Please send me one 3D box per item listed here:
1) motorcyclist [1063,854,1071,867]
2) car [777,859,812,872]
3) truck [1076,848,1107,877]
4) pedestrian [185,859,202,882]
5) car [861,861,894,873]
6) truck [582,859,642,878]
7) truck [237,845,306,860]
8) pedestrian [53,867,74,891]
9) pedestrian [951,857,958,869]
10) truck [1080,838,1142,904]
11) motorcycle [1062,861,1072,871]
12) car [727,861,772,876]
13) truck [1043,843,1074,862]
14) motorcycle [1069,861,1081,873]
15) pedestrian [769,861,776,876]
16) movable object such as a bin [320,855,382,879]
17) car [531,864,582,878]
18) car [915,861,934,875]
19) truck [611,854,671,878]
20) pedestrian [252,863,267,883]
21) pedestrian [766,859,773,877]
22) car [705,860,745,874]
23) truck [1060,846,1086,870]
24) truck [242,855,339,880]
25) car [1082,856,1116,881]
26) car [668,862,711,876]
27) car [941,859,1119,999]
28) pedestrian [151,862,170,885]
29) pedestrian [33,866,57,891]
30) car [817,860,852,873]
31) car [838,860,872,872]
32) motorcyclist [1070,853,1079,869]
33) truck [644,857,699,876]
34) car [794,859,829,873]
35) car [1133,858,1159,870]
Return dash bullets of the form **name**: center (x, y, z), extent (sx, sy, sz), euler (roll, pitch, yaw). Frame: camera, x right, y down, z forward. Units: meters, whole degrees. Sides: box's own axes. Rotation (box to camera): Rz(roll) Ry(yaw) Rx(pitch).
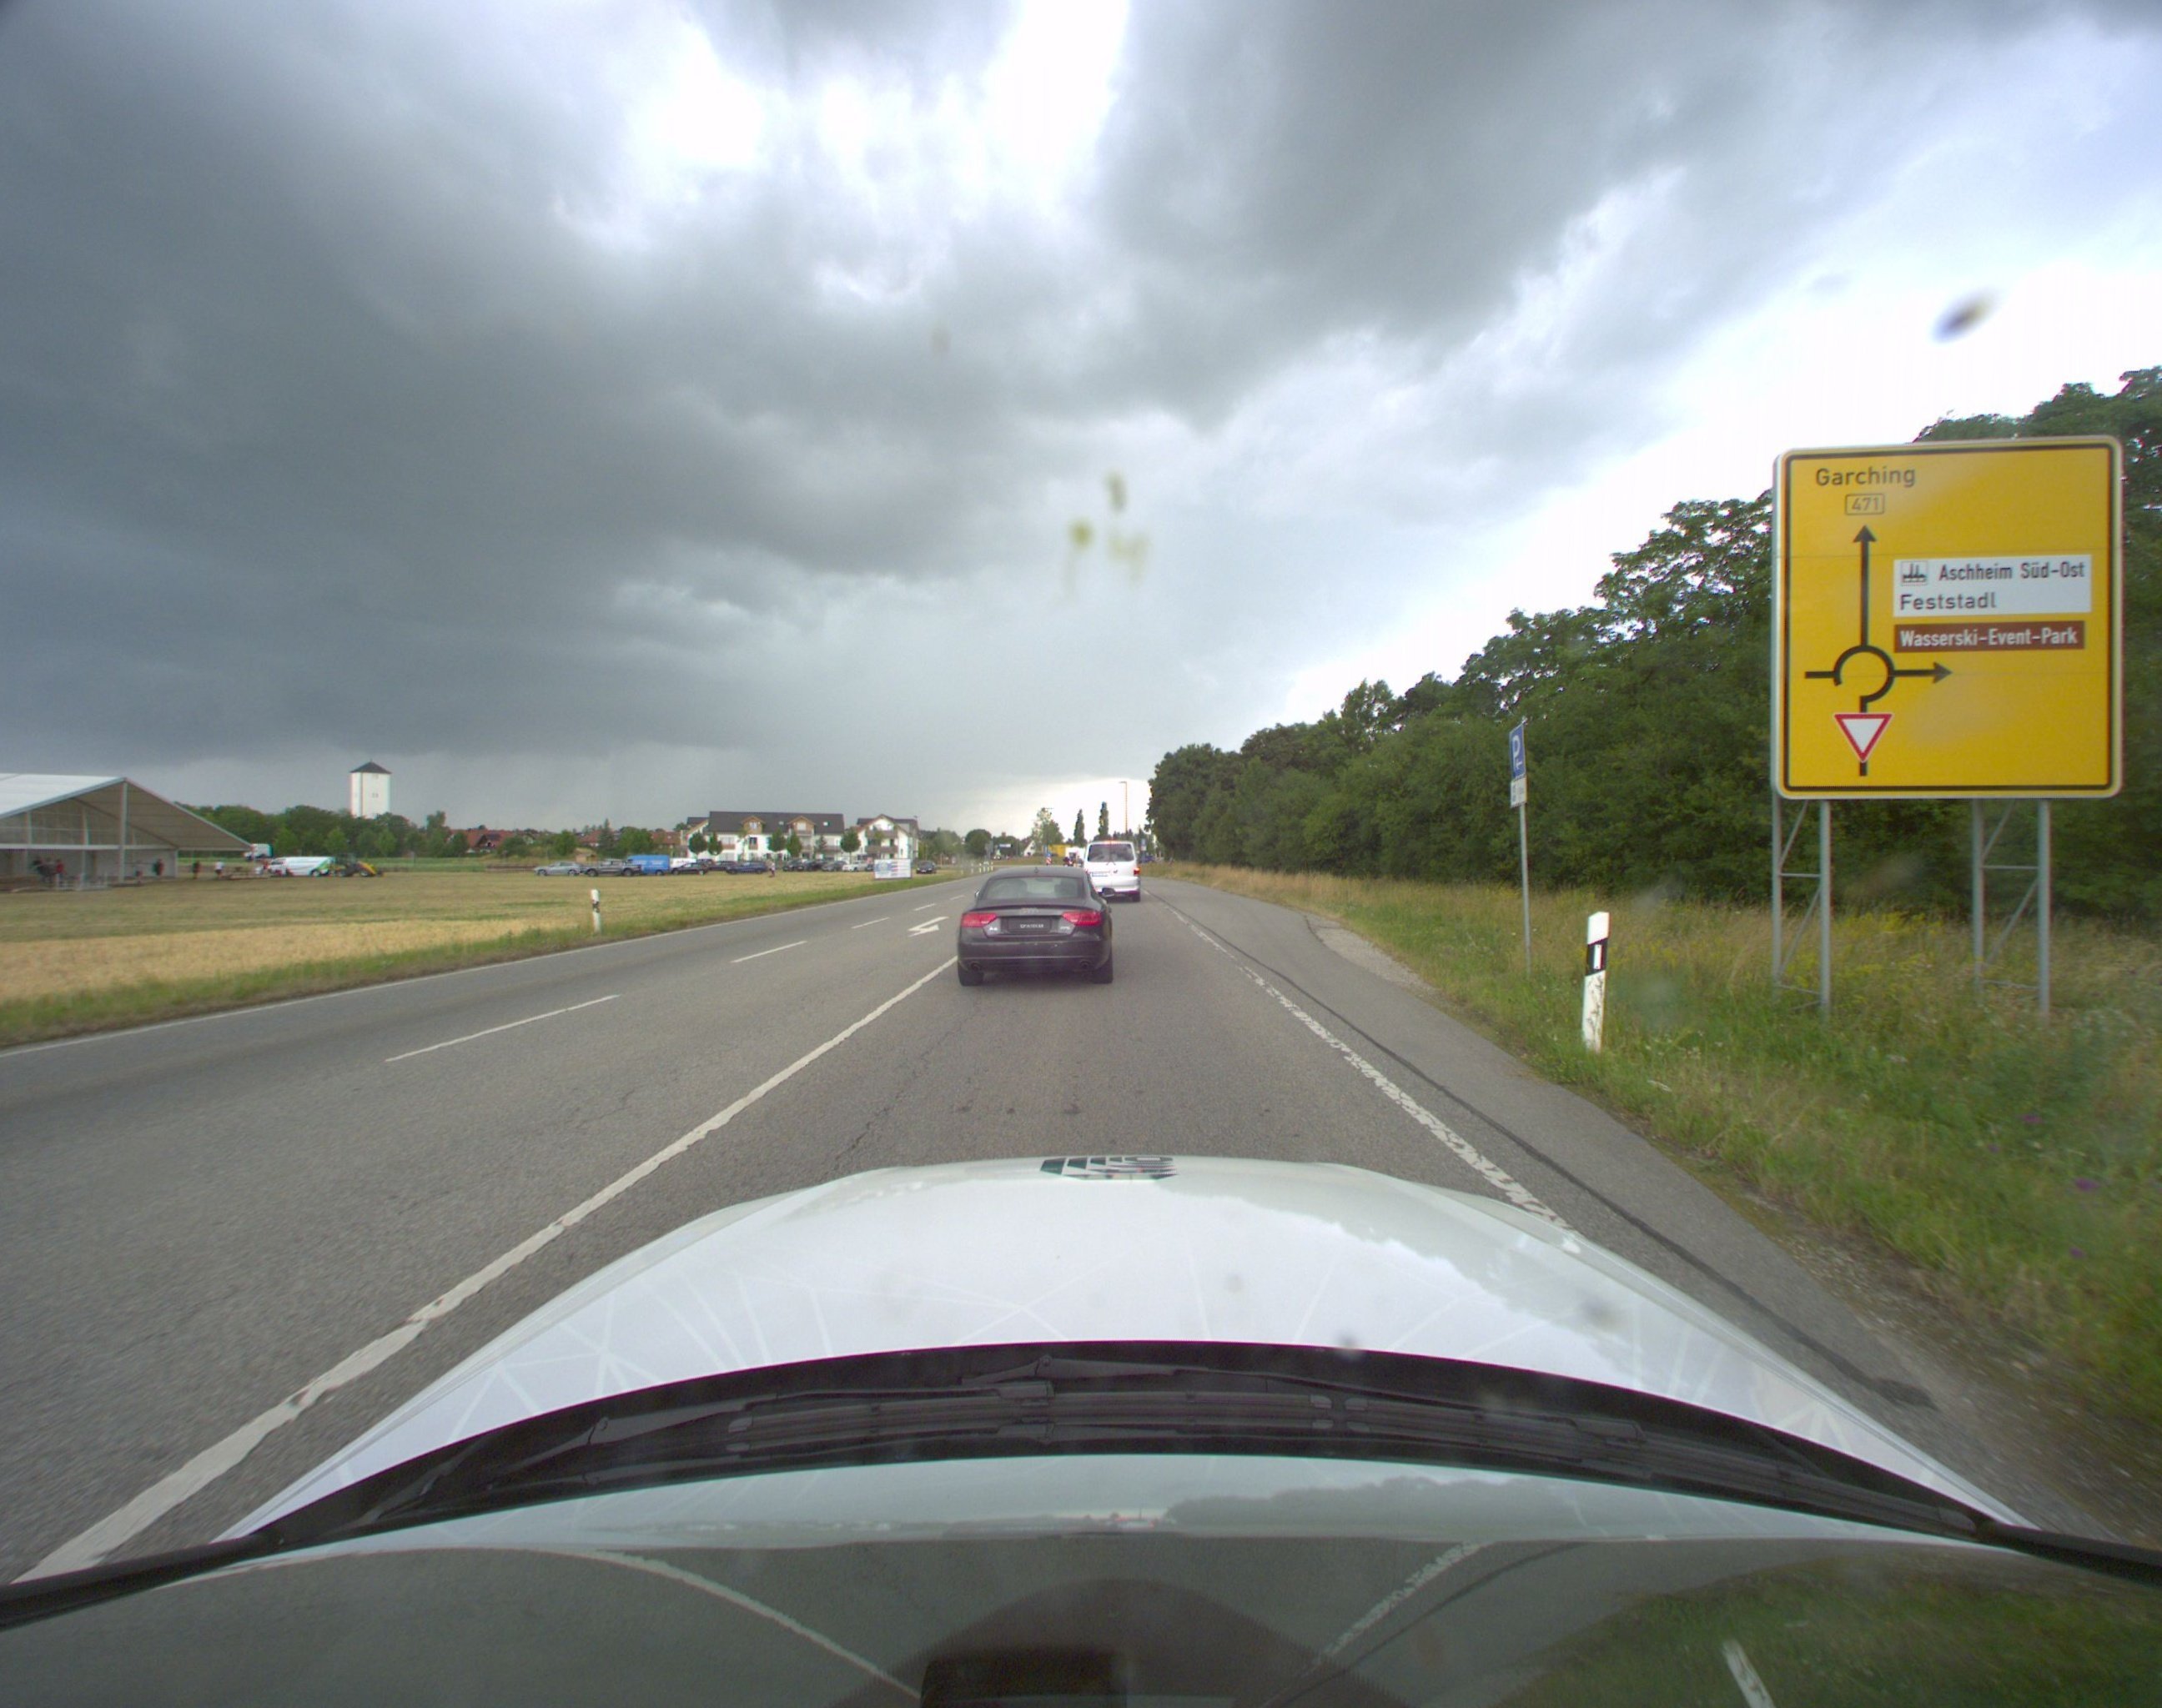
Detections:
- **motorcyclist**: center (-1.511, 0.720, 85.791), extent (0.784, 1.356, 0.852), euler (0, 0, -5)
- **car**: center (-37.228, 1.434, 105.848), extent (1.977, 1.629, 4.232), euler (-1, 0, 20)
- **truck**: center (0.853, 0.636, 60.615), extent (2.185, 2.014, 5.086), euler (0, 0, 2)
- **pedestrian**: center (-73.314, 1.370, 67.277), extent (0.625, 1.866, 0.705), euler (0, -1, -16)
- **car**: center (-25.500, 1.583, 102.048), extent (1.977, 1.446, 4.232), euler (-1, 0, 20)
- **truck**: center (-48.717, 1.496, 84.704), extent (5.252, 1.921, 2.095), euler (0, -1, -25)
- **truck**: center (-144.826, -0.229, 145.793), extent (9.306, 2.530, 3.302), euler (0, 0, 3)
- **pedestrian**: center (-73.478, 1.782, 58.820), extent (0.656, 1.744, 0.722), euler (0, -1, -19)
- **pedestrian**: center (-16.841, 1.180, 108.110), extent (0.695, 1.586, 0.661), euler (-1, -1, 18)
- **truck**: center (0.997, 0.530, 27.298), extent (1.897, 1.998, 4.630), euler (0, 0, 2)
- **motorcycle**: center (-1.497, 1.247, 85.855), extent (0.942, 1.019, 2.280), euler (0, 0, -4)
- **car**: center (-38.934, 1.643, 95.771), extent (4.730, 1.697, 1.987), euler (0, -1, -19)
- **truck**: center (-4.454, -0.317, 158.798), extent (3.585, 3.578, 9.900), euler (0, 0, -17)
- **motorcycle**: center (-0.532, 1.144, 71.742), extent (0.916, 1.094, 2.190), euler (0, 0, 2)
- **pedestrian**: center (-32.032, 1.546, 84.551), extent (0.591, 1.555, 0.622), euler (0, -1, -18)
- **movable object such as a bin**: center (-69.052, 1.194, 77.137), extent (4.006, 2.243, 1.869), euler (0, -1, -27)
- **car**: center (-55.381, 1.792, 86.142), extent (4.316, 1.461, 1.876), euler (0, -1, -25)
- **car**: center (-17.205, 1.532, 89.589), extent (1.993, 1.442, 3.987), euler (0, 0, -9)
- **truck**: center (-47.937, 1.296, 88.920), extent (5.469, 2.446, 2.376), euler (0, -1, -22)
- **pedestrian**: center (-72.163, 1.672, 71.565), extent (0.690, 1.776, 0.690), euler (0, -1, -18)
- **pedestrian**: center (-31.916, 1.454, 83.459), extent (0.548, 1.786, 0.676), euler (0, -1, -10)
- **car**: center (-46.949, 1.684, 107.511), extent (4.640, 1.697, 1.987), euler (0, -1, -19)
- **truck**: center (-0.946, 0.454, 96.939), extent (2.622, 2.737, 5.856), euler (0, 0, -5)
- **truck**: center (-75.570, 1.276, 77.975), extent (6.076, 2.217, 2.697), euler (0, -1, -26)
- **car**: center (1.073, 0.855, 50.038), extent (1.987, 1.485, 4.000), euler (-1, 0, 1)
- **car**: center (-44.934, 1.728, 93.540), extent (4.168, 1.519, 1.987), euler (0, 0, -19)
- **car**: center (-0.501, 0.804, 10.736), extent (1.868, 1.454, 4.177), euler (-1, 0, 1)
- **pedestrian**: center (-71.978, 1.516, 63.678), extent (0.687, 1.776, 0.693), euler (-1, -1, 14)
- **pedestrian**: center (-74.739, 1.782, 58.764), extent (0.732, 1.779, 0.755), euler (0, -1, -19)
- **car**: center (-31.123, 1.528, 102.943), extent (1.977, 1.536, 4.232), euler (-1, 0, 20)
- **car**: center (-28.379, 1.525, 102.491), extent (1.977, 1.446, 4.232), euler (-1, 0, 20)
- **motorcyclist**: center (-0.549, 0.605, 71.704), extent (0.769, 1.383, 0.820), euler (0, -1, 2)
- **truck**: center (-48.373, 1.429, 96.427), extent (5.586, 2.196, 2.588), euler (0, -1, -22)
- **car**: center (-34.248, 1.524, 103.482), extent (1.977, 1.629, 4.232), euler (-1, 0, 20)
- **car**: center (11.166, 1.692, 139.988), extent (3.953, 2.014, 2.010), euler (0, -1, 21)
